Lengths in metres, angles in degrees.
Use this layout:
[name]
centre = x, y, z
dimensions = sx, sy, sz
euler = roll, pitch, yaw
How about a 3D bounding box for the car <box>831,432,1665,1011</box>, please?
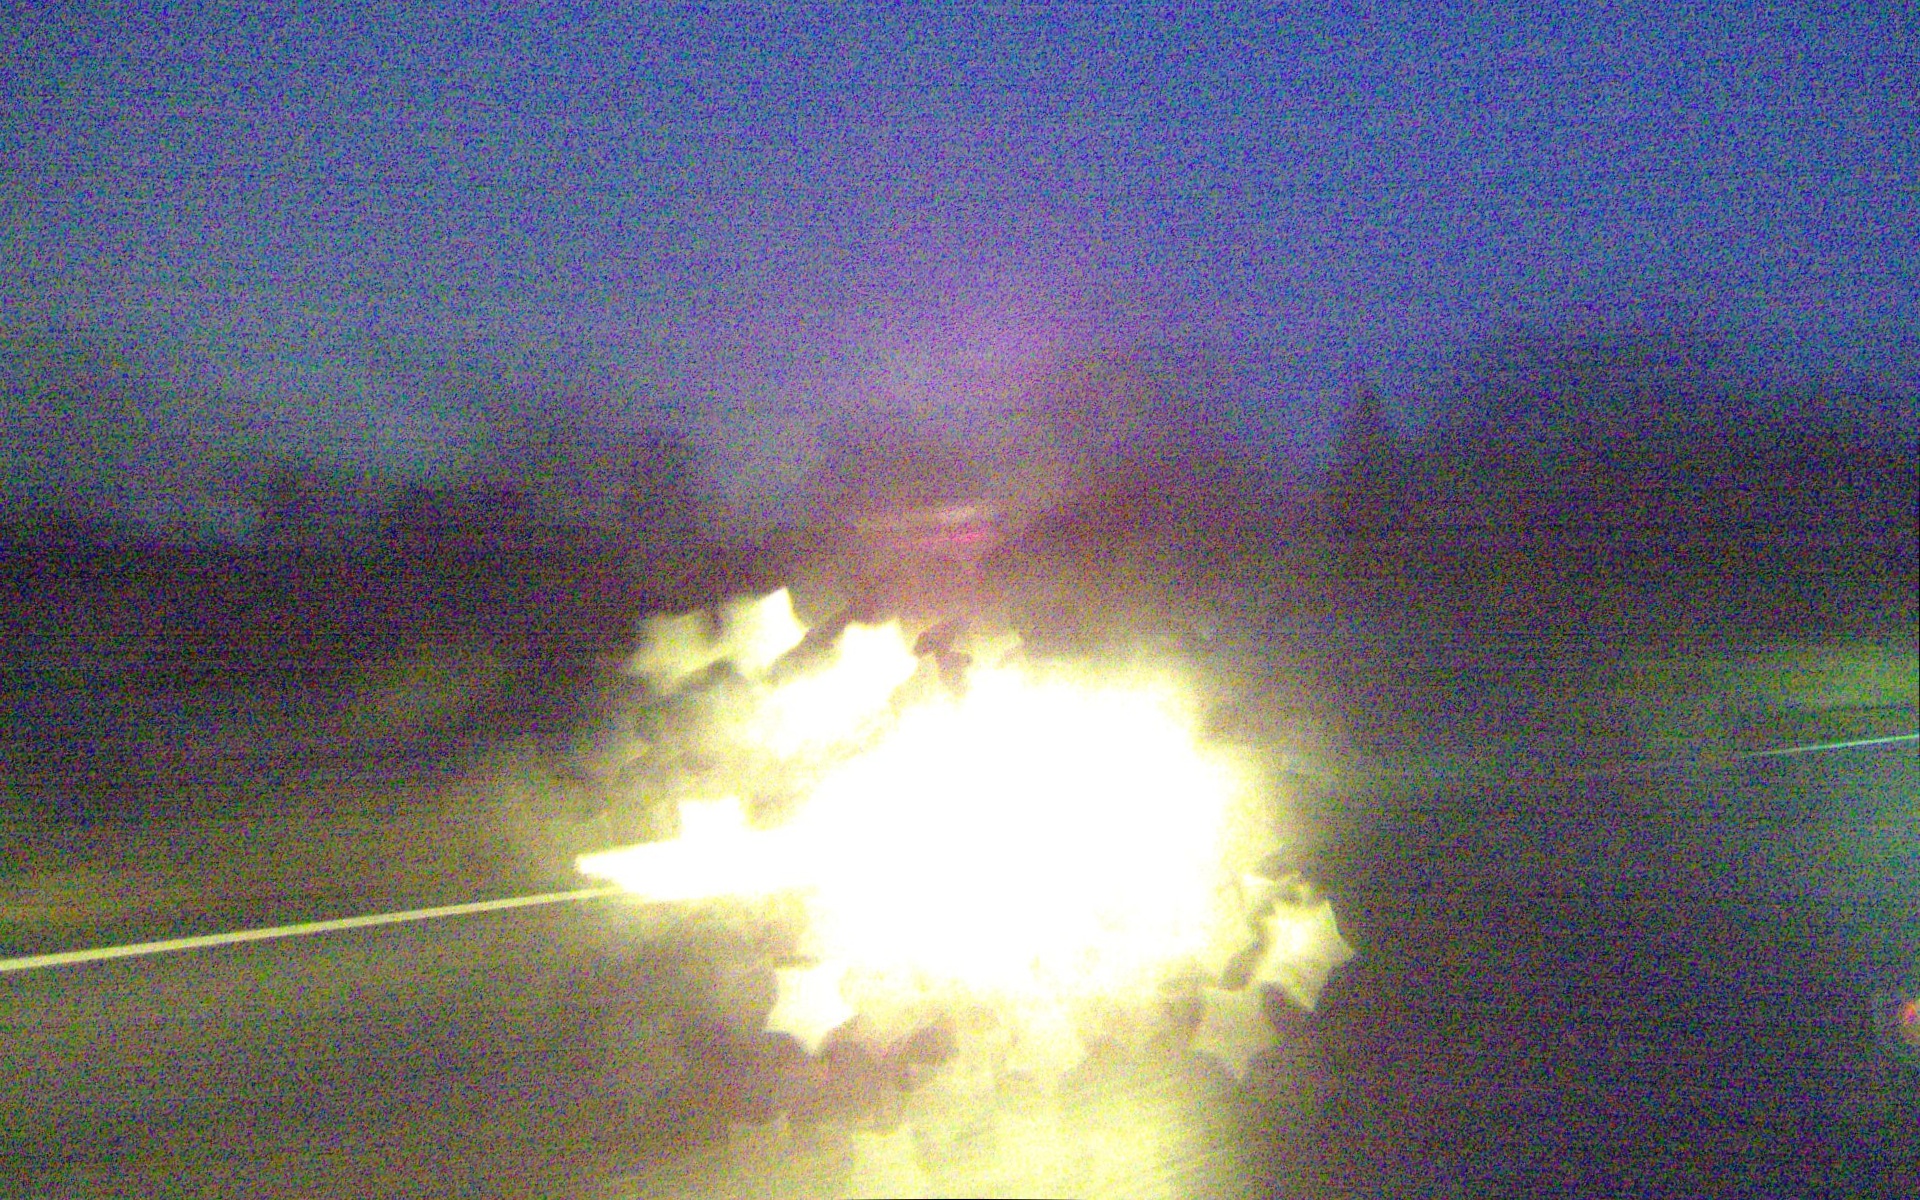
[car]
centre = 1.631, 0.486, 5.463
dimensions = 4.223, 2.040, 1.985
euler = 1, -2, -29
